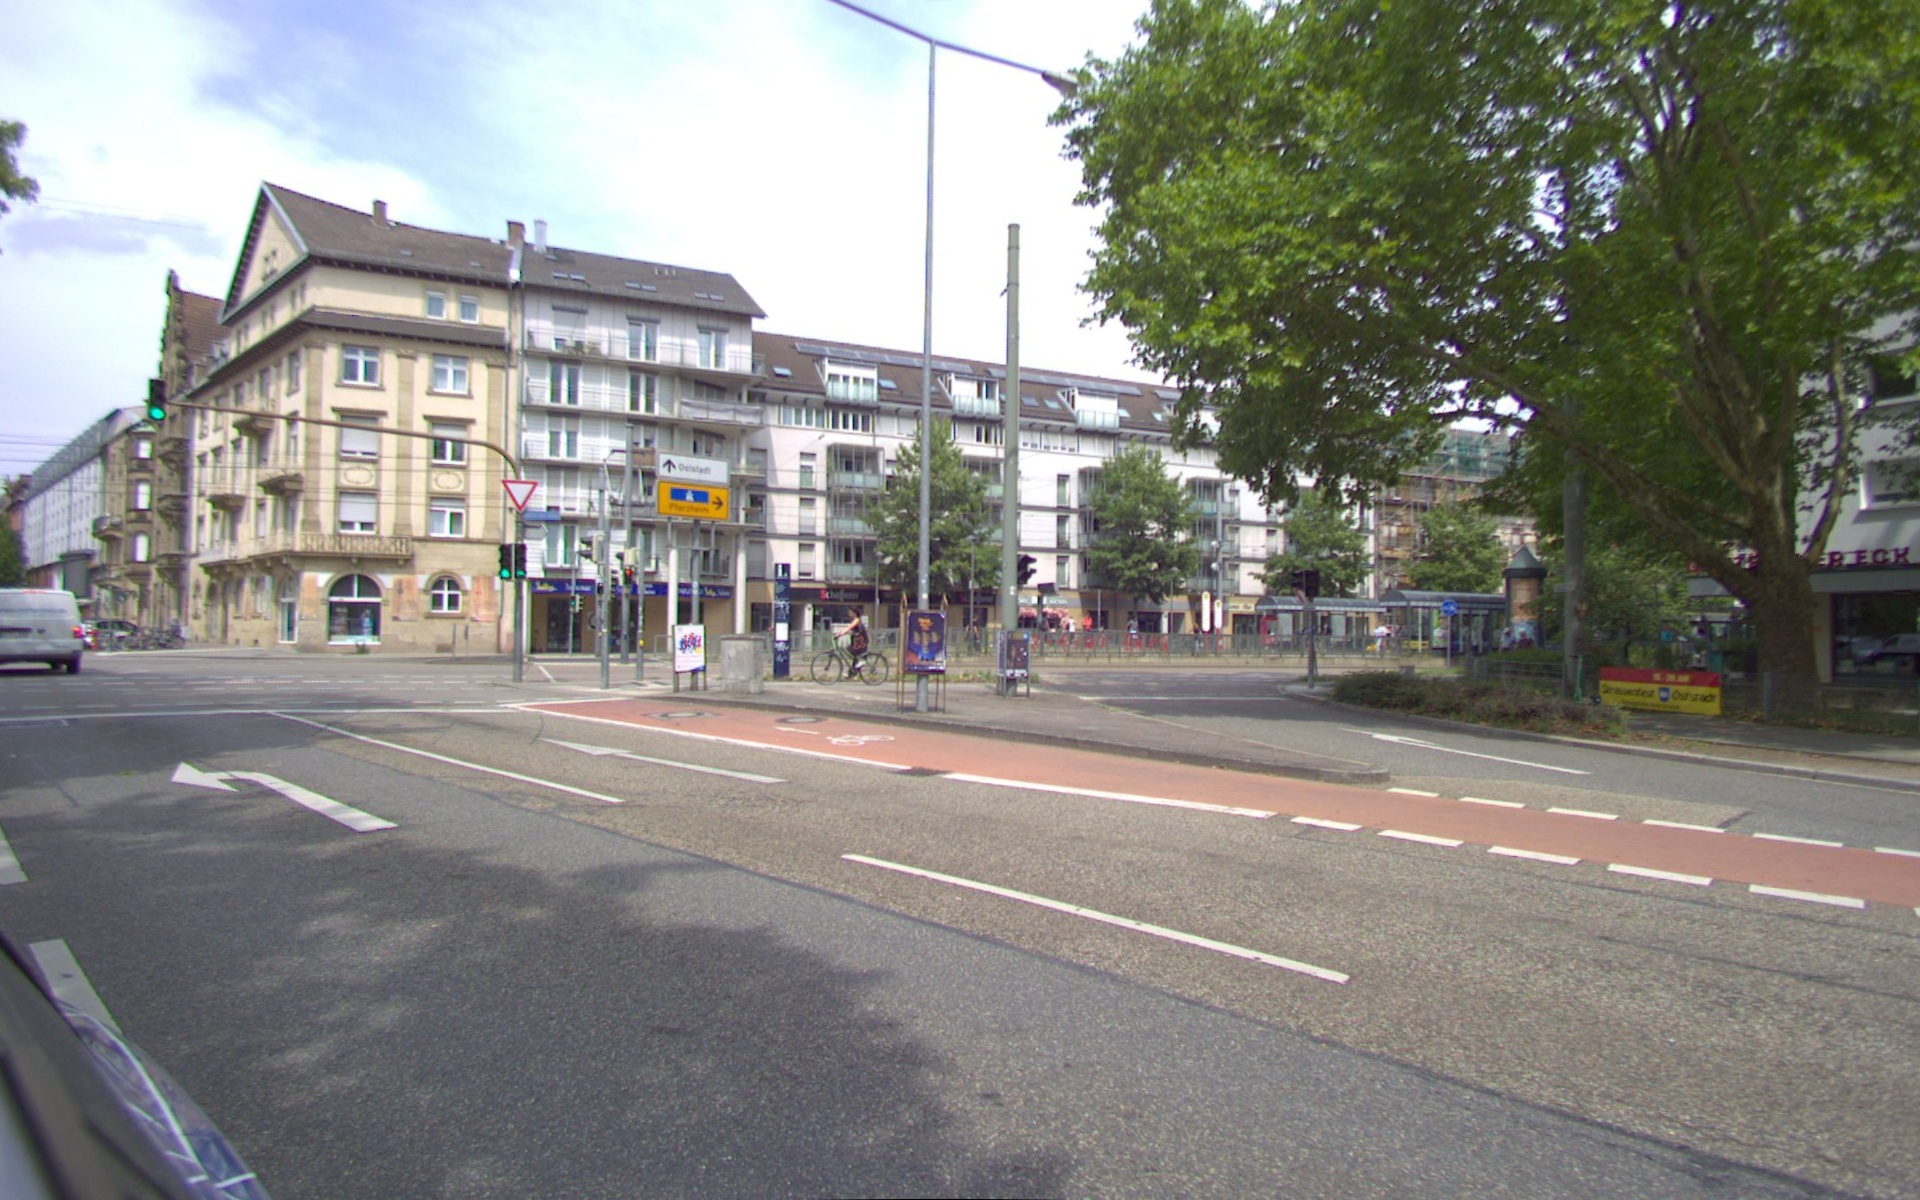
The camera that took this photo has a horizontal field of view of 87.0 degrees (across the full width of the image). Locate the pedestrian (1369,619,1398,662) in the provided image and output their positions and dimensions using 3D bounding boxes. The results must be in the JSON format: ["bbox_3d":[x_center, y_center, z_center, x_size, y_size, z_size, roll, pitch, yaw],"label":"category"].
[{"bbox_3d":[19.921,1.904,47.585,0.858,2.029,0.855,1,-3,-25],"label":"pedestrian"}]

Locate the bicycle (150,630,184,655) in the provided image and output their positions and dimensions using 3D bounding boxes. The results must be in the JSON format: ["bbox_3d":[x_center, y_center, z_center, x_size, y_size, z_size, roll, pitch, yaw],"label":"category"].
[{"bbox_3d":[-41.340,2.202,52.743,0.397,1.201,1.330,-2,0,35],"label":"bicycle"}]

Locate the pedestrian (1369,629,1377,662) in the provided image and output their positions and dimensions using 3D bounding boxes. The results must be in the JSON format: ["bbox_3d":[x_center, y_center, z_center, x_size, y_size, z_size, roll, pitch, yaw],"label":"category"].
[{"bbox_3d":[23.847,2.625,58.427,0.307,1.898,0.326,2,-3,-34],"label":"pedestrian"}]

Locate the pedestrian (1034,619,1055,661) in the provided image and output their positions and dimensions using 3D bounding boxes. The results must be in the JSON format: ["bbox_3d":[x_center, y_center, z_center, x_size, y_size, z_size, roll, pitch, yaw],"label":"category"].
[{"bbox_3d":[4.150,1.980,49.628,0.744,2.029,0.763,1,-3,-24],"label":"pedestrian"}]

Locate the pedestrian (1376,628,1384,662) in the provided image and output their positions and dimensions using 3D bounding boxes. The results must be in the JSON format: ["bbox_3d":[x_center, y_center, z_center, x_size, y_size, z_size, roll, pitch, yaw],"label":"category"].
[{"bbox_3d":[24.139,2.586,58.169,0.307,1.969,0.326,2,-3,-34],"label":"pedestrian"}]

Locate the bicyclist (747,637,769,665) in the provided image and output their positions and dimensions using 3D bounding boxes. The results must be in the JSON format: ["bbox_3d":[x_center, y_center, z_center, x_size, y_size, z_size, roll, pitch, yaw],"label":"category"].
[{"bbox_3d":[-10.555,2.646,52.895,0.983,1.455,0.643,1,-3,-24],"label":"bicyclist"}]

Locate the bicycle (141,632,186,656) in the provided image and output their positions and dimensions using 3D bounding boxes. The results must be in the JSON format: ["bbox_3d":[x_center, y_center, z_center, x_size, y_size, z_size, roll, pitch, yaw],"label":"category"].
[{"bbox_3d":[-41.084,2.259,52.213,0.397,1.201,1.807,-3,-2,41],"label":"bicycle"}]

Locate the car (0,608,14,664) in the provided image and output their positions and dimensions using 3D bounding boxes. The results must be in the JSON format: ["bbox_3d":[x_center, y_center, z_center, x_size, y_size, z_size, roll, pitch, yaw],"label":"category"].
[{"bbox_3d":[-30.679,1.117,31.180,4.426,1.660,1.803,-2,-2,41],"label":"car"}]

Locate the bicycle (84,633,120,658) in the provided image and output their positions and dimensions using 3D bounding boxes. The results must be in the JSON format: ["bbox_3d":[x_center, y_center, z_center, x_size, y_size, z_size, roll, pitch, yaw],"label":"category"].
[{"bbox_3d":[-43.815,2.320,51.688,0.396,1.201,1.330,-2,0,35],"label":"bicycle"}]

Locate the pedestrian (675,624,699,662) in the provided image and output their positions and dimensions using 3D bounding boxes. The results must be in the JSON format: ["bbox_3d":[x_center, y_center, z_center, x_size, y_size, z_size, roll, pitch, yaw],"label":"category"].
[{"bbox_3d":[-11.662,1.834,43.214,0.824,1.564,0.870,2,-2,-25],"label":"pedestrian"}]

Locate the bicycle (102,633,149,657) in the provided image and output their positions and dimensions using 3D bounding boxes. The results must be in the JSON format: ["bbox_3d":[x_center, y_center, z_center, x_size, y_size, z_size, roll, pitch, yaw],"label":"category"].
[{"bbox_3d":[-42.355,2.275,51.396,0.397,1.201,1.799,-2,-2,38],"label":"bicycle"}]

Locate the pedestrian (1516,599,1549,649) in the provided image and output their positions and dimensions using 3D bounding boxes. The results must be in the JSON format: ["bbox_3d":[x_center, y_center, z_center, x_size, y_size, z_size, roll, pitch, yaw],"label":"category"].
[{"bbox_3d":[19.149,0.802,33.859,0.673,1.648,0.698,2,-3,-27],"label":"pedestrian"}]

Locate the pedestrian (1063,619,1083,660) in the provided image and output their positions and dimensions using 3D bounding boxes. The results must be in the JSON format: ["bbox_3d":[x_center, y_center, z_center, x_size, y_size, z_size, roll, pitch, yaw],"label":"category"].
[{"bbox_3d":[5.693,2.006,51.002,0.744,2.029,0.763,1,-3,-24],"label":"pedestrian"}]

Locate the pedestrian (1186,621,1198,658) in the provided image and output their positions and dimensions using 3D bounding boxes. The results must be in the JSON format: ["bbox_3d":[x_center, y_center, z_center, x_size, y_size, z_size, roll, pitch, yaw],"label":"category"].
[{"bbox_3d":[12.506,2.134,54.583,0.363,2.029,0.503,2,-3,-25],"label":"pedestrian"}]

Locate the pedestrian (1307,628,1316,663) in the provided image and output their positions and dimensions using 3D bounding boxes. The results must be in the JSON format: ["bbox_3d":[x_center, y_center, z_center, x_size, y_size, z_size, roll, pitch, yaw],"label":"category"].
[{"bbox_3d":[19.911,2.572,57.321,0.307,1.969,0.326,2,-3,-34],"label":"pedestrian"}]

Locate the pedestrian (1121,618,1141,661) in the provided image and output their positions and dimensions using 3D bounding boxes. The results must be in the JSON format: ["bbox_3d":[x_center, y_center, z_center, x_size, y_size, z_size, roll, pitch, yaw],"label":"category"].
[{"bbox_3d":[9.078,2.089,53.649,0.744,2.267,0.763,1,-3,-24],"label":"pedestrian"}]

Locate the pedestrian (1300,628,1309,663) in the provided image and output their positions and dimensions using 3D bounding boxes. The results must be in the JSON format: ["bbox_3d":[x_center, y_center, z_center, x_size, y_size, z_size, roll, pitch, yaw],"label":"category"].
[{"bbox_3d":[19.671,2.578,57.769,0.307,1.969,0.326,2,-3,-34],"label":"pedestrian"}]

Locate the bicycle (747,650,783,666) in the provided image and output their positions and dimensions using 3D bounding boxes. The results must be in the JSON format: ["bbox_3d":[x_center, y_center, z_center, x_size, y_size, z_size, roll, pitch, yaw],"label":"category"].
[{"bbox_3d":[-10.212,3.053,53.037,1.760,0.822,0.654,1,-3,-24],"label":"bicycle"}]

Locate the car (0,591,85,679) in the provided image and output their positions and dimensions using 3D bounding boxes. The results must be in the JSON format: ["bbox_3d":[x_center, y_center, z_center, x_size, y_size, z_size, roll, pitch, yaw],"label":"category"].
[{"bbox_3d":[-22.774,0.847,24.388,4.945,1.951,1.903,-2,-2,41],"label":"car"}]

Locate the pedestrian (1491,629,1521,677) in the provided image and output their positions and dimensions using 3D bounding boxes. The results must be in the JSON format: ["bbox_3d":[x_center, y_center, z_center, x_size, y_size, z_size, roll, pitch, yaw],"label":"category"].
[{"bbox_3d":[18.676,1.804,34.627,0.497,1.636,0.698,2,-3,-27],"label":"pedestrian"}]

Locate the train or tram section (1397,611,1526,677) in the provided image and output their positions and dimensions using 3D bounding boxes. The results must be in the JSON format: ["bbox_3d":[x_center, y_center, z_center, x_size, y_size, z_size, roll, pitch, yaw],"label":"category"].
[{"bbox_3d":[27.650,2.453,55.724,7.386,3.340,2.374,3,-4,-27],"label":"train or tram section"}]

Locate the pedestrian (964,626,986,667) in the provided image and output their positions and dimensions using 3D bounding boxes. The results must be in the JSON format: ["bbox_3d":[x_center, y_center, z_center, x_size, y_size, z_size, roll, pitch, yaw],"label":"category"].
[{"bbox_3d":[0.562,1.775,38.865,0.588,1.564,0.672,2,-2,-27],"label":"pedestrian"}]

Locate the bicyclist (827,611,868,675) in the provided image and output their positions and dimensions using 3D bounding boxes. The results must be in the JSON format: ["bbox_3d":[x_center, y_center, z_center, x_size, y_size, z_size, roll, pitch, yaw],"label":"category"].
[{"bbox_3d":[-2.438,0.945,21.968,0.739,1.352,0.493,2,-4,-26],"label":"bicyclist"}]

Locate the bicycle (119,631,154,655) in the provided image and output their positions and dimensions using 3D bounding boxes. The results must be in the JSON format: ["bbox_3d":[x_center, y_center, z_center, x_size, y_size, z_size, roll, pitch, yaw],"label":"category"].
[{"bbox_3d":[-43.159,2.259,53.056,0.397,1.201,1.328,-2,-3,40],"label":"bicycle"}]

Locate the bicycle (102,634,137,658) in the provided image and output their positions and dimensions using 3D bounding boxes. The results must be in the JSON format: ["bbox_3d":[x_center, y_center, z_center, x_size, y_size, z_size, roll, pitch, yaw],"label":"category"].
[{"bbox_3d":[-42.828,2.327,51.571,0.397,1.201,1.329,-2,-1,38],"label":"bicycle"}]

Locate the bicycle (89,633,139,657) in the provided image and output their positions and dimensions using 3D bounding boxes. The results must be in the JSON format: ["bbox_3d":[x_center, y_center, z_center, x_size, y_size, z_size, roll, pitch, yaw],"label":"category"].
[{"bbox_3d":[-42.023,2.233,50.293,1.844,1.201,0.457,1,-3,-29],"label":"bicycle"}]

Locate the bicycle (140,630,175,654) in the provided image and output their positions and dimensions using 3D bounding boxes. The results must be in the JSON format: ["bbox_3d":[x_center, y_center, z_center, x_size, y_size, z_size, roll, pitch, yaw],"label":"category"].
[{"bbox_3d":[-41.978,2.197,52.943,0.397,1.201,1.330,-2,0,35],"label":"bicycle"}]

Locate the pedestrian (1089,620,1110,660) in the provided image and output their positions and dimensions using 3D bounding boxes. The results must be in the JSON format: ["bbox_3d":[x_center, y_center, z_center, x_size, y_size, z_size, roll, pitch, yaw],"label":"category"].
[{"bbox_3d":[7.169,2.070,52.006,0.744,2.029,0.763,1,-3,-24],"label":"pedestrian"}]

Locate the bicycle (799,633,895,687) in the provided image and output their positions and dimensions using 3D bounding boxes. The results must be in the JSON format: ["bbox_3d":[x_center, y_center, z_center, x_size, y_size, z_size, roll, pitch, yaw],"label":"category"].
[{"bbox_3d":[-2.435,1.310,21.979,1.937,1.103,0.629,4,-4,-26],"label":"bicycle"}]

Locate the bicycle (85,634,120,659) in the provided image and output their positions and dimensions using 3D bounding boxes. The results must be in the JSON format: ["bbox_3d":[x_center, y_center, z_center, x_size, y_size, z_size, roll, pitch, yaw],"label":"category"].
[{"bbox_3d":[-44.283,2.407,52.265,0.397,1.201,1.328,-2,-1,40],"label":"bicycle"}]

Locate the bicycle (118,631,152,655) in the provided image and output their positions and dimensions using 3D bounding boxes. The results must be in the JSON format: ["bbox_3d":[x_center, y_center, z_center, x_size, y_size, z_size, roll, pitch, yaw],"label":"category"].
[{"bbox_3d":[-43.522,2.272,53.407,0.397,1.201,1.329,-2,-2,36],"label":"bicycle"}]
